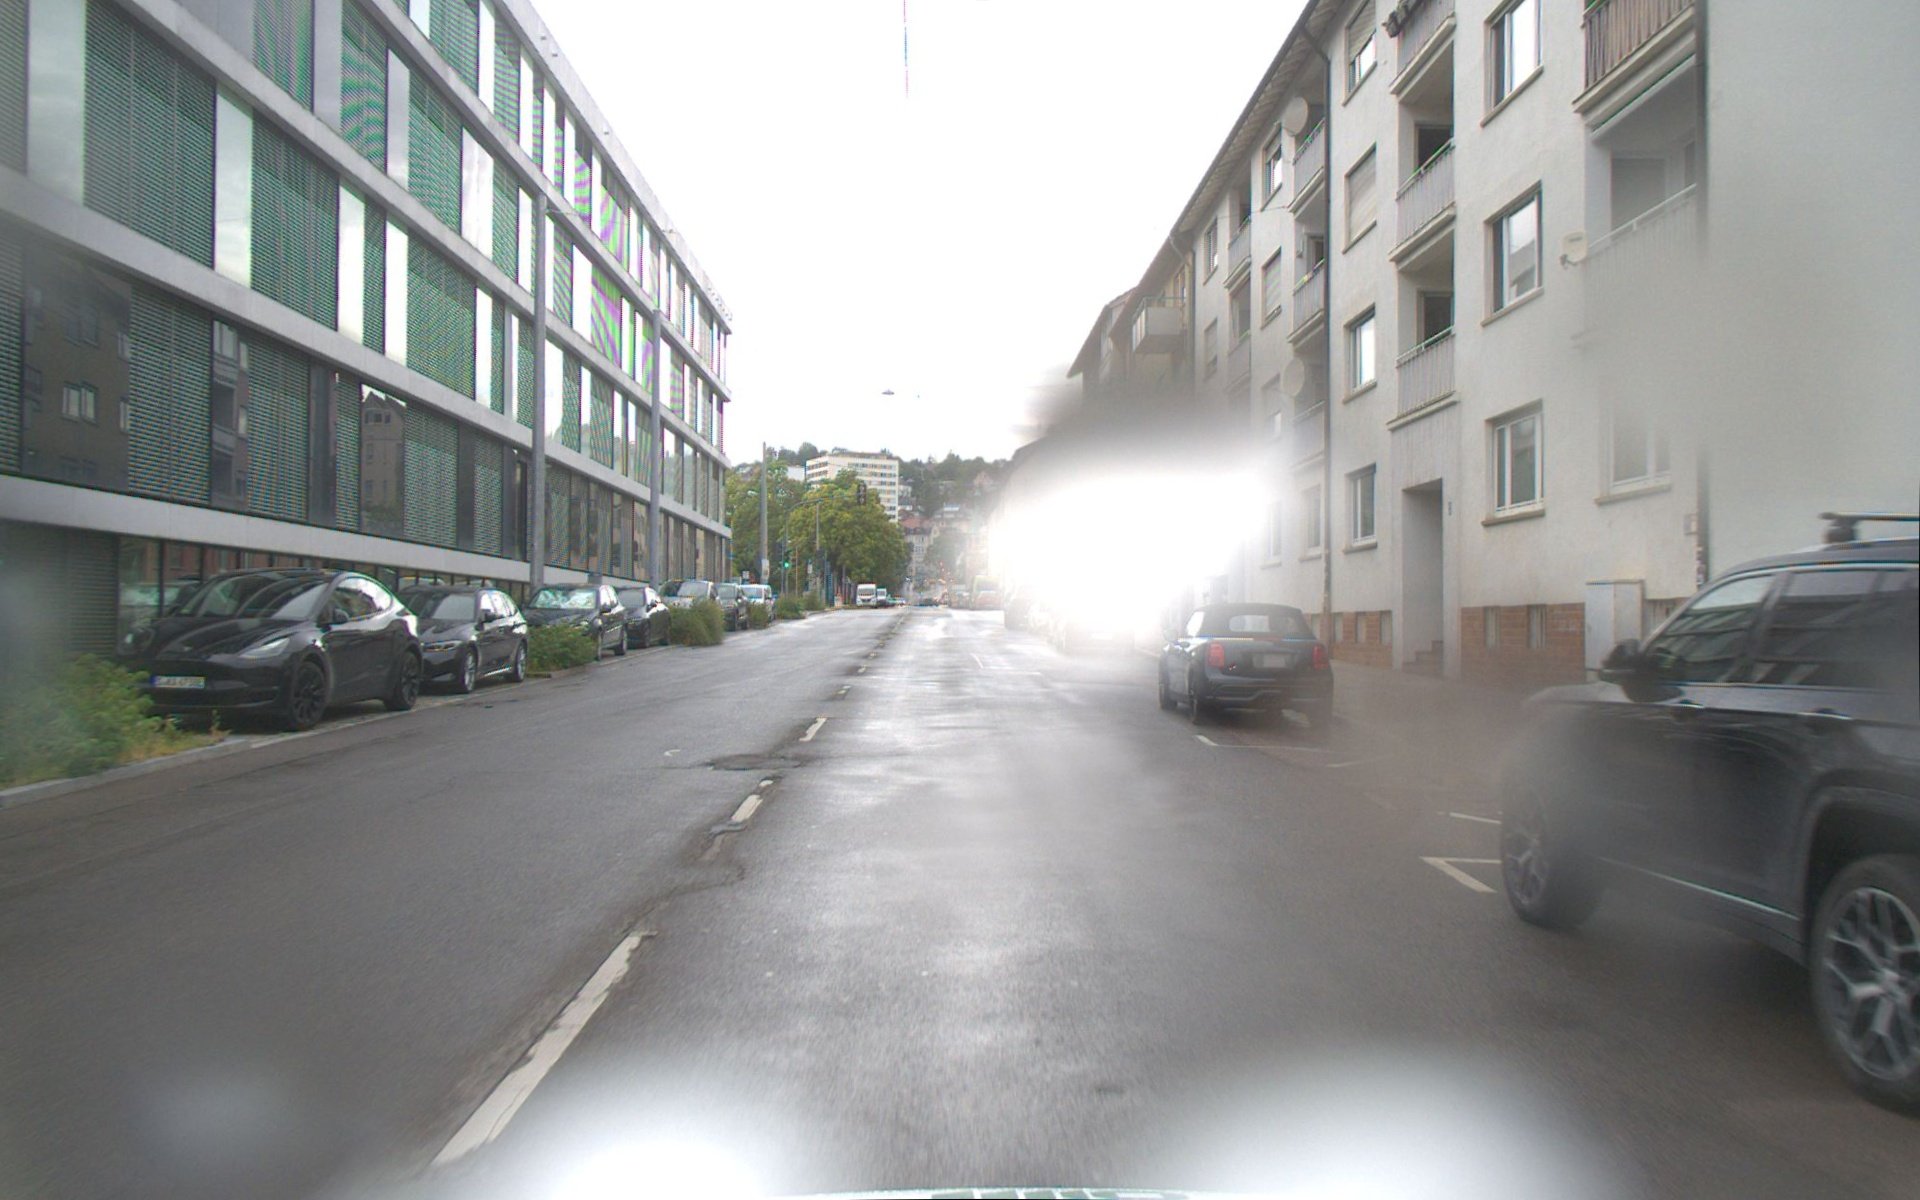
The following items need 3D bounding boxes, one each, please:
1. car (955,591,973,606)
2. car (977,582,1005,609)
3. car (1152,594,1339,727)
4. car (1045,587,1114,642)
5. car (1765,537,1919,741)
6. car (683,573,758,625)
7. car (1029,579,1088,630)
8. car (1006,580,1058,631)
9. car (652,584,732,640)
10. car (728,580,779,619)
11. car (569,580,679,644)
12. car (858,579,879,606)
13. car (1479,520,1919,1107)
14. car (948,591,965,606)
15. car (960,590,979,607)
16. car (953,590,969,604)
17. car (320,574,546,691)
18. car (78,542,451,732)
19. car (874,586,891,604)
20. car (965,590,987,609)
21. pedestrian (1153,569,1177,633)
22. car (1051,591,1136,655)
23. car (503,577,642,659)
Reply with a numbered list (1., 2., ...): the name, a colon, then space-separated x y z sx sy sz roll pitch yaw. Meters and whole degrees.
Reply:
1. car: 0.413 -0.159 183.123 1.828 1.632 4.190 1 0 2
2. car: 2.124 -0.282 113.099 1.828 1.801 4.190 1 0 2
3. car: 3.570 0.702 21.291 1.639 1.485 3.763 1 1 -2
4. car: 3.307 0.383 46.232 1.550 1.438 3.653 1 0 -1
5. car: 10.107 0.260 15.314 4.349 1.742 1.904 -2 0 -2
6. car: -8.020 -0.007 55.693 1.764 1.632 4.235 1 -1 2
7. car: 3.237 0.151 54.835 1.602 1.598 3.710 1 0 -1
8. car: 2.644 0.173 61.534 1.621 1.768 4.178 1 1 -1
9. car: -7.995 0.326 49.608 1.735 1.561 4.315 1 0 -1
10. car: -8.331 -0.037 66.928 1.562 1.485 3.719 1 0 0
11. car: -8.051 0.279 40.003 1.800 1.420 4.391 1 0 -1
12. car: -9.354 -0.758 168.478 2.063 2.591 4.747 1 0 -3
13. car: 3.840 0.670 6.633 1.896 1.781 4.795 1 0 -1
14. car: -0.382 -0.138 191.277 1.828 1.632 4.190 1 0 2
15. car: 0.996 -0.161 167.775 1.828 1.632 4.190 1 0 2
16. car: 0.137 -0.365 202.143 1.828 1.632 4.190 1 0 2
17. car: -7.578 0.434 24.319 1.833 1.498 4.739 1 0 -1
18. car: -7.444 0.363 18.373 1.922 1.781 4.942 1 0 1
19. car: -9.729 -0.573 207.332 1.830 2.178 4.354 1 -1 -5
20. car: 1.458 0.005 148.422 1.828 1.632 4.190 1 0 2
21. pedestrian: 6.139 0.038 49.599 0.626 1.903 0.538 1 -1 1
22. car: 3.257 0.546 40.922 1.672 1.480 3.983 1 0 -1
23. car: -7.798 0.339 33.662 1.825 1.515 4.346 1 0 -1
